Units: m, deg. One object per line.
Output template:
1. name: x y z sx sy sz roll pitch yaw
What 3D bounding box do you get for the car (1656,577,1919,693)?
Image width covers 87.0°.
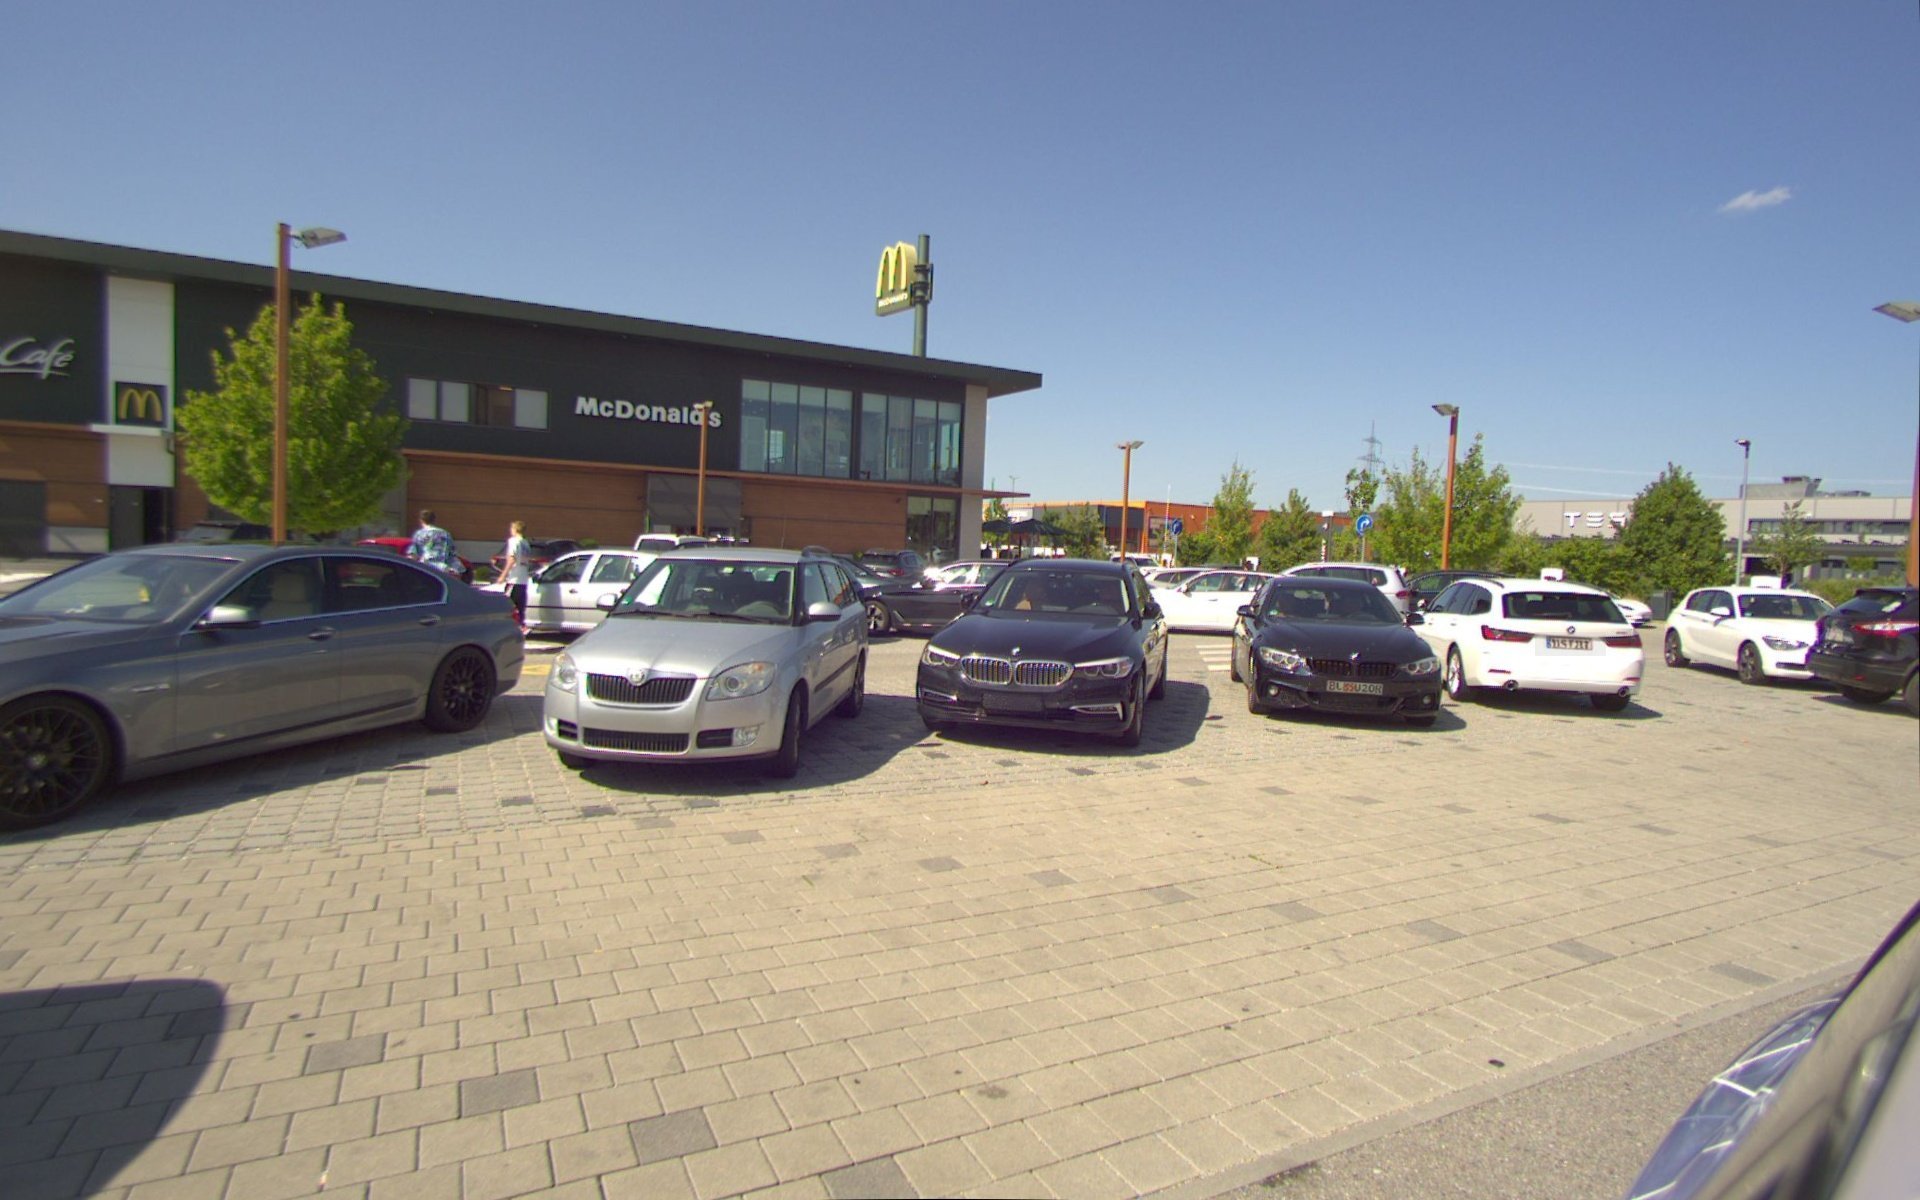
1. car: 13.038 0.435 15.995 1.947 1.477 4.190 2 2 14

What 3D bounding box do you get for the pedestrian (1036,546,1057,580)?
1. pedestrian: 4.146 -1.772 48.686 0.687 1.578 0.723 1 3 -27

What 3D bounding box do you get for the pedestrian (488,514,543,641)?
1. pedestrian: -6.426 -0.328 14.631 0.544 1.790 0.466 2 2 10

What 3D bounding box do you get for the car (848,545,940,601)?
1. car: -2.043 -0.883 32.594 1.693 1.632 4.017 2 2 16

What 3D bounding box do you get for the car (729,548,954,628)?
1. car: -2.602 -0.318 22.388 4.584 1.505 1.885 3 3 19

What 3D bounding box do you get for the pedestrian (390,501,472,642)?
1. pedestrian: -7.298 -0.394 13.964 0.820 1.872 0.769 0 2 -43

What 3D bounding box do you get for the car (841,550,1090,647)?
1. car: 0.117 -0.097 18.604 4.225 1.505 1.803 3 3 19

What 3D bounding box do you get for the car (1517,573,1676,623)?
1. car: 22.164 -0.115 35.439 1.804 1.497 4.342 1 3 -27

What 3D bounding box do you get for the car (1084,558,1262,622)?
1. car: 5.892 -0.323 27.925 4.584 1.505 1.885 3 3 19

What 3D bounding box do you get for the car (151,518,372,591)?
1. car: -17.221 -1.121 25.253 1.932 1.622 4.454 2 2 11

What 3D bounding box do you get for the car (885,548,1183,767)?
1. car: 1.008 0.320 9.778 1.948 1.505 4.761 2 2 15

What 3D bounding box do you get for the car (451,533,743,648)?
1. car: -5.573 -0.205 15.589 4.061 1.511 1.702 3 3 19

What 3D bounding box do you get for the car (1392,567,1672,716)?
1. car: 6.953 0.349 12.901 1.809 1.477 4.568 2 2 13

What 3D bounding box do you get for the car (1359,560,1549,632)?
1. car: 12.294 -0.139 25.436 3.943 1.571 1.747 3 2 15

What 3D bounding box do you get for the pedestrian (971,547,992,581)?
1. pedestrian: 1.023 -1.746 48.920 0.697 1.578 0.713 3 2 34

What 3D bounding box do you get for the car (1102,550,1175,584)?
1. car: 8.922 -1.661 50.866 1.727 1.580 3.892 1 3 -24

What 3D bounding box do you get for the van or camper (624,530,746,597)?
1. van or camper: -7.996 -1.075 29.767 1.687 1.796 4.012 2 2 14

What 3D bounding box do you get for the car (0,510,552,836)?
1. car: -5.066 0.249 6.702 1.946 1.545 4.827 2 2 14

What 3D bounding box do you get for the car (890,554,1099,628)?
1. car: 0.825 -0.271 23.966 4.584 1.505 1.885 3 3 19

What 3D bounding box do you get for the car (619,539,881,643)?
1. car: -3.585 -0.212 17.394 4.061 1.533 1.803 3 3 19

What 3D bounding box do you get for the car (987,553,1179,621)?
1. car: 3.156 -0.390 25.921 4.584 1.505 1.885 3 3 19

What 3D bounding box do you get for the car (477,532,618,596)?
1. car: -11.198 -1.011 27.774 1.688 1.533 3.938 3 3 11

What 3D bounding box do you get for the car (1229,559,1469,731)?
1. car: 4.085 0.319 11.359 1.808 1.477 4.355 2 2 12

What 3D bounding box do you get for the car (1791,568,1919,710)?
1. car: 12.889 0.526 11.958 4.249 1.610 1.846 3 3 19

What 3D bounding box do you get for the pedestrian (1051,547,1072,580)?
1. pedestrian: 4.985 -1.780 49.529 0.687 1.578 0.723 1 3 -27

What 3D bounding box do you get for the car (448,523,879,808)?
1. car: -1.862 0.281 7.827 1.939 1.545 4.206 2 2 2

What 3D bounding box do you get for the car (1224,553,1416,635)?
1. car: 8.424 -0.205 23.970 4.061 1.694 1.803 3 3 19

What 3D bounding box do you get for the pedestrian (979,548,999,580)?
1. pedestrian: 1.482 -1.843 51.581 0.697 1.578 0.713 3 2 34

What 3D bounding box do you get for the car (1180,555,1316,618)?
1. car: 9.099 -0.461 31.991 3.914 1.796 1.641 3 2 23

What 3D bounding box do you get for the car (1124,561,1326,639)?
1. car: 5.755 -0.053 22.062 4.061 1.430 1.803 3 3 19

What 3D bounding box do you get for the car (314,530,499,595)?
1. car: -14.268 -0.981 26.411 1.930 1.483 4.458 2 2 9

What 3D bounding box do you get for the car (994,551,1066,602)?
1. car: 2.520 -0.860 35.622 1.693 1.632 4.017 2 2 16
